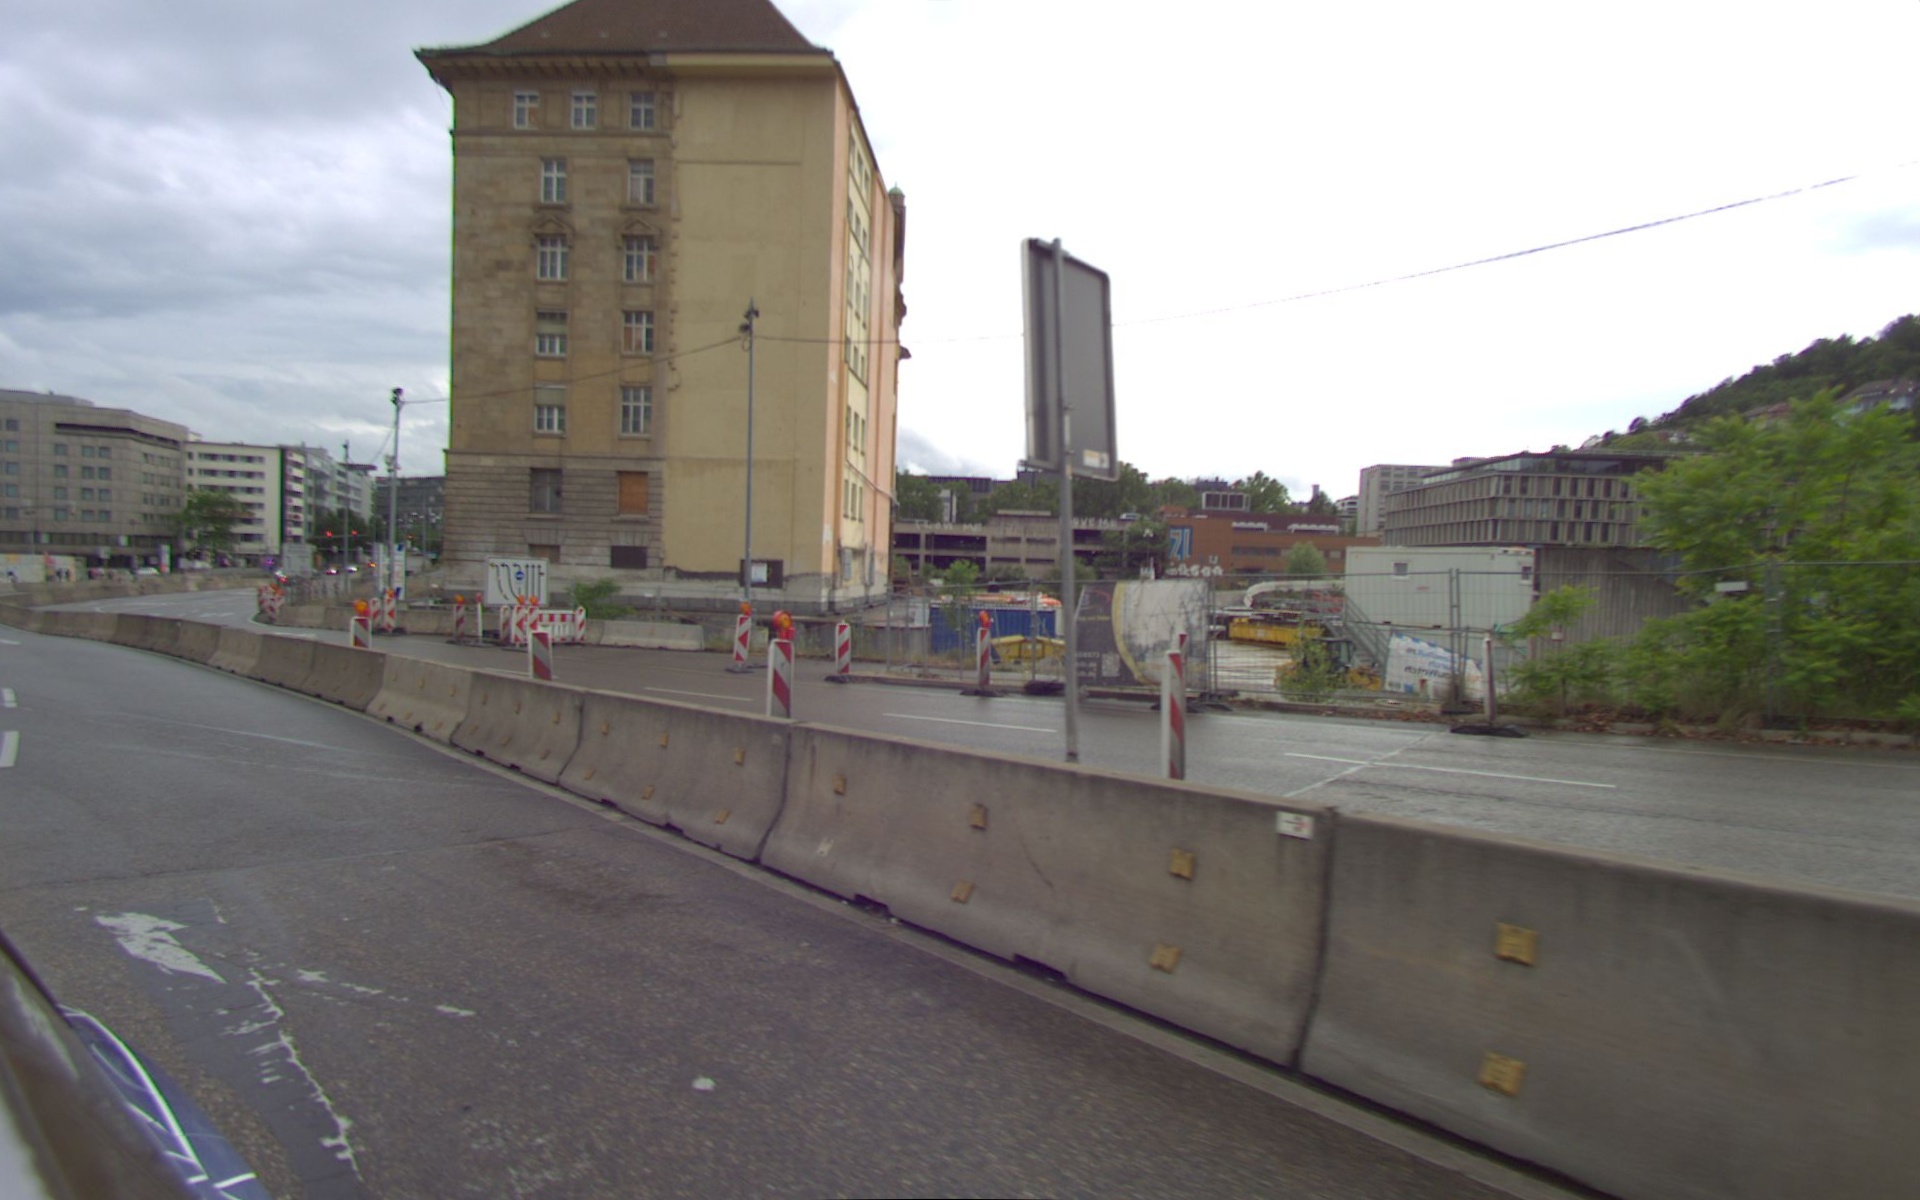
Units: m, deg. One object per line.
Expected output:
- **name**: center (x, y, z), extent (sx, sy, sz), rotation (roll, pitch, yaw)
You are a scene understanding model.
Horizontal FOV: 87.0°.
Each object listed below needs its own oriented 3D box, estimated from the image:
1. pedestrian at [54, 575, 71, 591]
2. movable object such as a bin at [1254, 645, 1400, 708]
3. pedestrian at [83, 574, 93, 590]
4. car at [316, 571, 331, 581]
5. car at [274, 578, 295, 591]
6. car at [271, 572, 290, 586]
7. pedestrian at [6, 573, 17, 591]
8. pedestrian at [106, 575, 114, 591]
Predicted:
- **pedestrian**: center (-98.530, -1.867, 111.069), extent (1.081, 1.774, 0.909), rotation (3, 0, -22)
- **movable object such as a bin**: center (12.543, 2.557, 34.862), extent (1.709, 1.689, 4.455), rotation (1, 1, -40)
- **pedestrian**: center (-98.205, -2.028, 113.975), extent (0.745, 1.774, 0.767), rotation (3, 0, -37)
- **car**: center (-122.235, -4.661, 194.352), extent (1.965, 1.862, 4.013), rotation (1, 1, -27)
- **car**: center (-82.856, -1.886, 124.135), extent (1.742, 1.532, 4.401), rotation (1, 1, -29)
- **car**: center (-107.068, -3.369, 159.564), extent (1.965, 2.029, 4.013), rotation (1, -1, -26)
- **pedestrian**: center (-91.562, -1.755, 97.695), extent (0.638, 1.682, 0.767), rotation (3, 0, -37)
- **pedestrian**: center (-101.310, -2.037, 120.632), extent (0.643, 1.774, 0.550), rotation (3, 0, -37)
